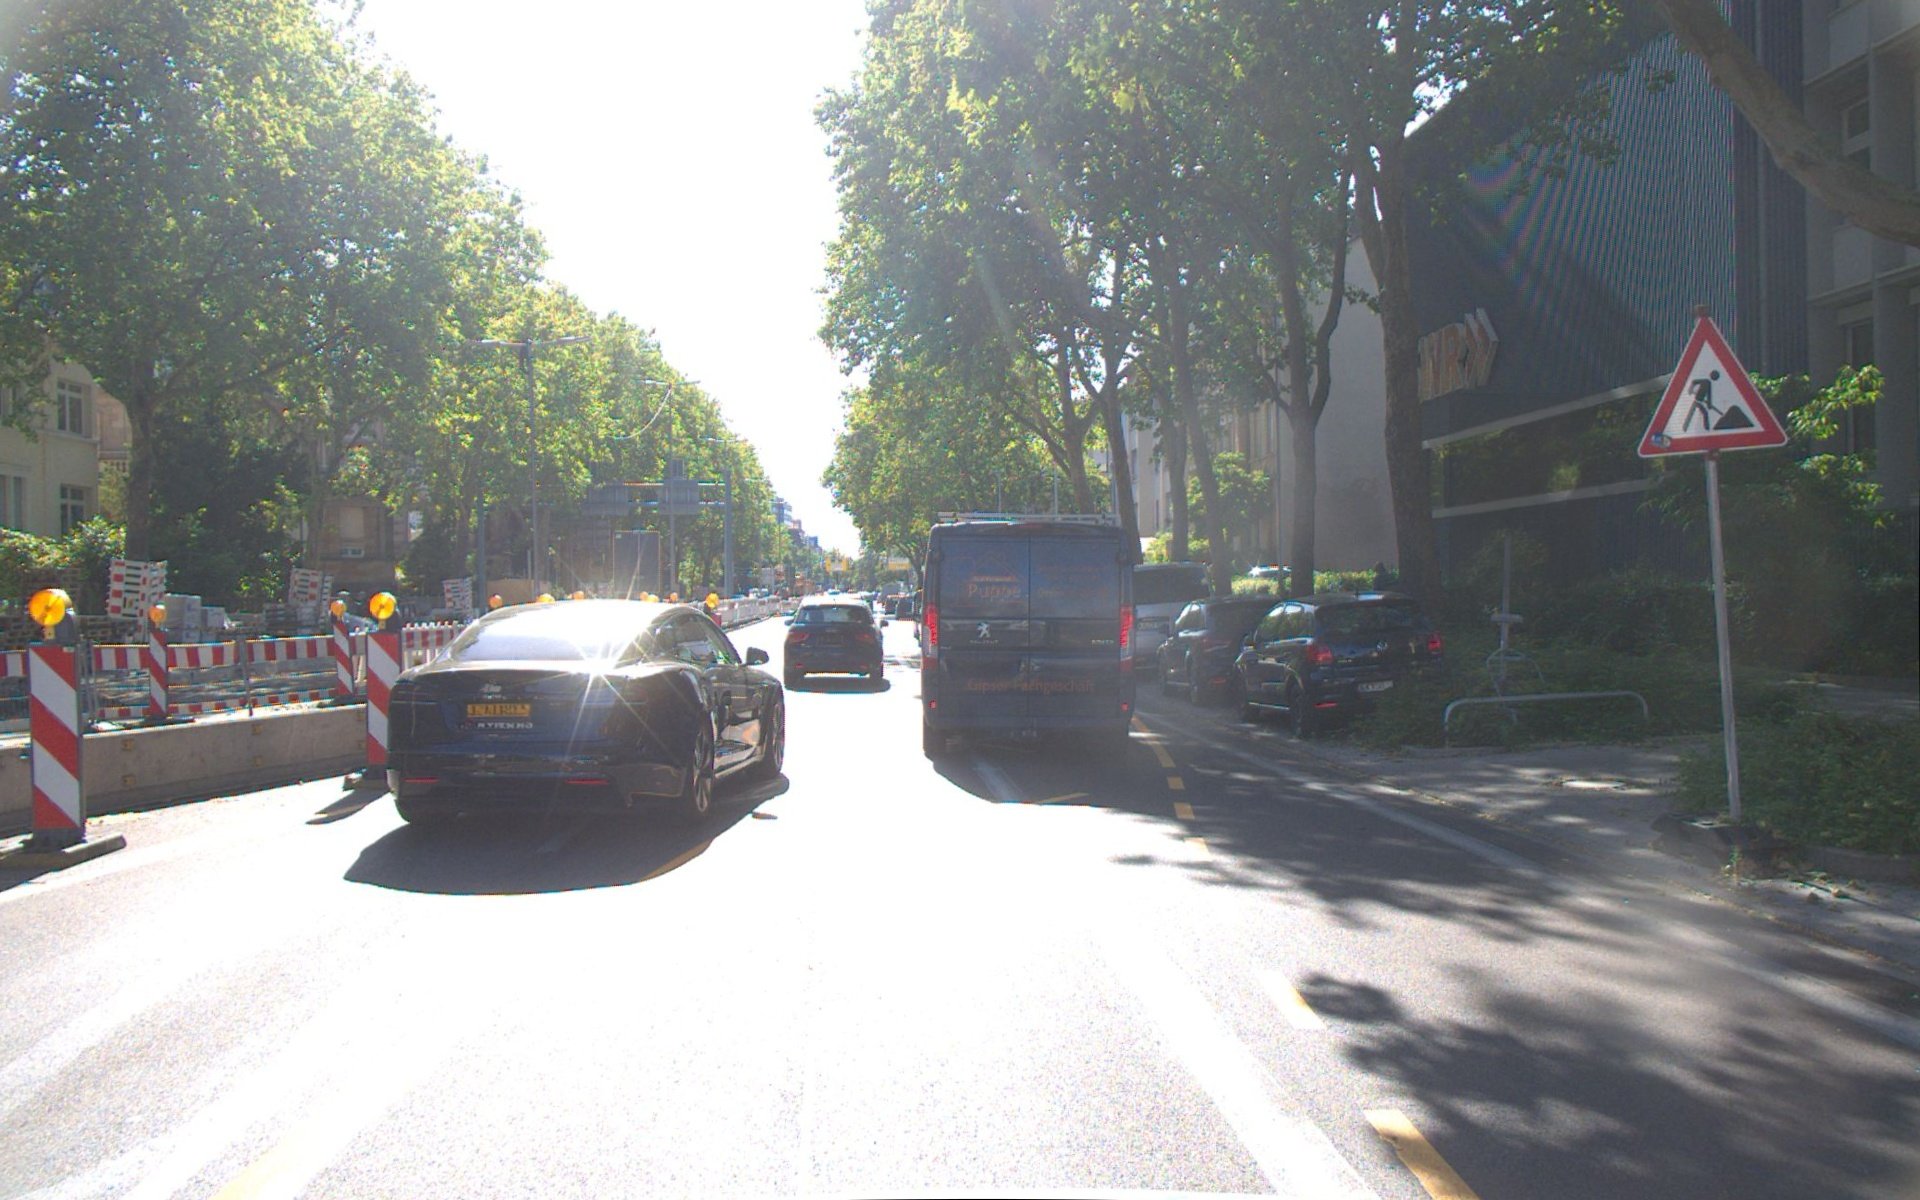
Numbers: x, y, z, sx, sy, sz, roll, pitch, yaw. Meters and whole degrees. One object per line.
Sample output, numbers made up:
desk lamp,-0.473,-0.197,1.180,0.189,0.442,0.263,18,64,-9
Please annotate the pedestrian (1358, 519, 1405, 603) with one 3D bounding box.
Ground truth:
pedestrian,8.664,-0.812,34.032,0.692,1.677,0.674,1,2,-7

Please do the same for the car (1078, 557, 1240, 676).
car,3.542,0.270,30.488,1.986,1.980,5.269,-1,0,-4

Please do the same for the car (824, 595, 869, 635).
car,-3.731,0.475,54.730,1.392,1.246,3.436,-1,0,-3

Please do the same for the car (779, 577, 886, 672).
car,-2.249,0.381,28.795,1.712,1.431,3.996,0,2,-5

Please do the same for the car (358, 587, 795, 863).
car,-2.482,0.713,12.000,1.885,1.436,4.628,2,2,2

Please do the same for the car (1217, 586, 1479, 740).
car,4.258,0.625,18.839,1.729,1.534,4.247,-1,0,-4

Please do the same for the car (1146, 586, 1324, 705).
car,3.852,0.592,23.810,1.625,1.567,4.125,0,0,-4

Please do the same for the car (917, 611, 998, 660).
car,-0.106,0.967,46.760,1.955,1.271,3.996,-1,0,-5

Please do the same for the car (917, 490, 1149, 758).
car,0.607,0.187,16.824,2.053,2.396,3.932,0,1,-2

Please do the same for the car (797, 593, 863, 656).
car,-3.136,0.558,39.946,1.517,1.450,3.552,0,0,-4

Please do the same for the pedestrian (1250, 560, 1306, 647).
pedestrian,6.170,0.065,32.158,0.714,1.630,1.265,-1,0,-6

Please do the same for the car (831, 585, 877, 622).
car,-4.774,0.154,74.779,1.953,1.616,3.998,-1,0,-2

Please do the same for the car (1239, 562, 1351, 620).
car,11.095,-0.300,54.963,1.691,1.886,3.462,0,0,-36
